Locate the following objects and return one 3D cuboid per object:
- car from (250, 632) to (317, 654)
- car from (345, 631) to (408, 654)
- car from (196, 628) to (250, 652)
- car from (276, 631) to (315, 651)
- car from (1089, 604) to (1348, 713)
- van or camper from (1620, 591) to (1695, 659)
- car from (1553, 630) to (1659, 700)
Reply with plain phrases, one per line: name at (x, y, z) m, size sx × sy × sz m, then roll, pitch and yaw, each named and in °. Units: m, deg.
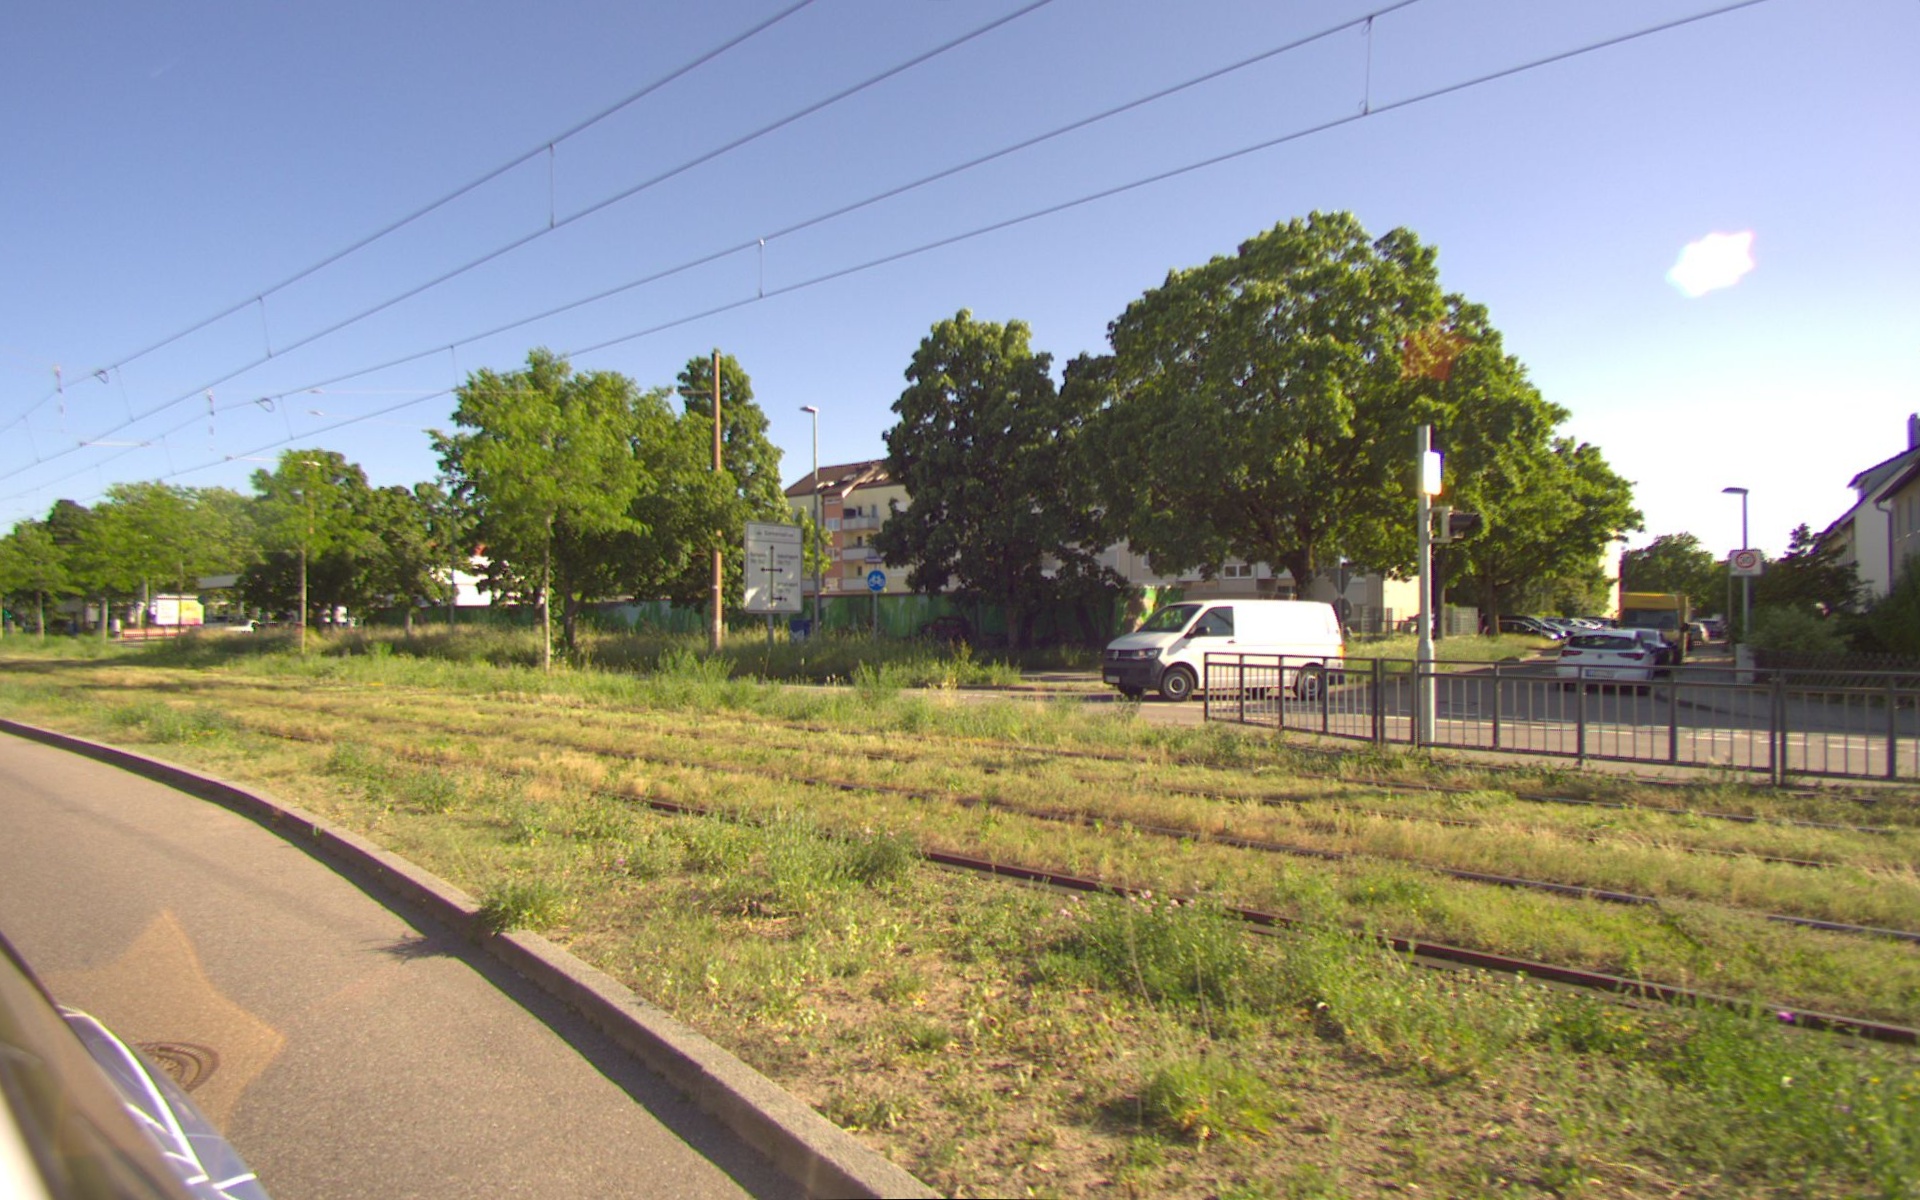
car at (-48.689, 3.053, 72.839) m, size 1.637 × 1.523 × 3.669 m, roll -2°, pitch -2°, yaw 34°
car at (-43.654, 3.156, 75.774) m, size 1.702 × 1.521 × 3.782 m, roll -2°, pitch -1°, yaw 38°
car at (-61.223, 3.329, 84.168) m, size 1.867 × 1.925 × 4.822 m, roll -1°, pitch -2°, yaw -13°
car at (-55.527, 3.428, 84.593) m, size 1.992 × 1.519 × 4.906 m, roll 1°, pitch -1°, yaw -25°
car at (5.040, 1.071, 19.729) m, size 4.620 × 1.929 × 1.910 m, roll 0°, pitch -2°, yaw -22°
van or camper at (26.733, 0.864, 38.730) m, size 2.107 × 2.367 × 7.168 m, roll -2°, pitch 0°, yaw 36°
car at (15.330, 1.472, 23.917) m, size 1.850 × 1.414 × 3.950 m, roll 1°, pitch 0°, yaw 36°
